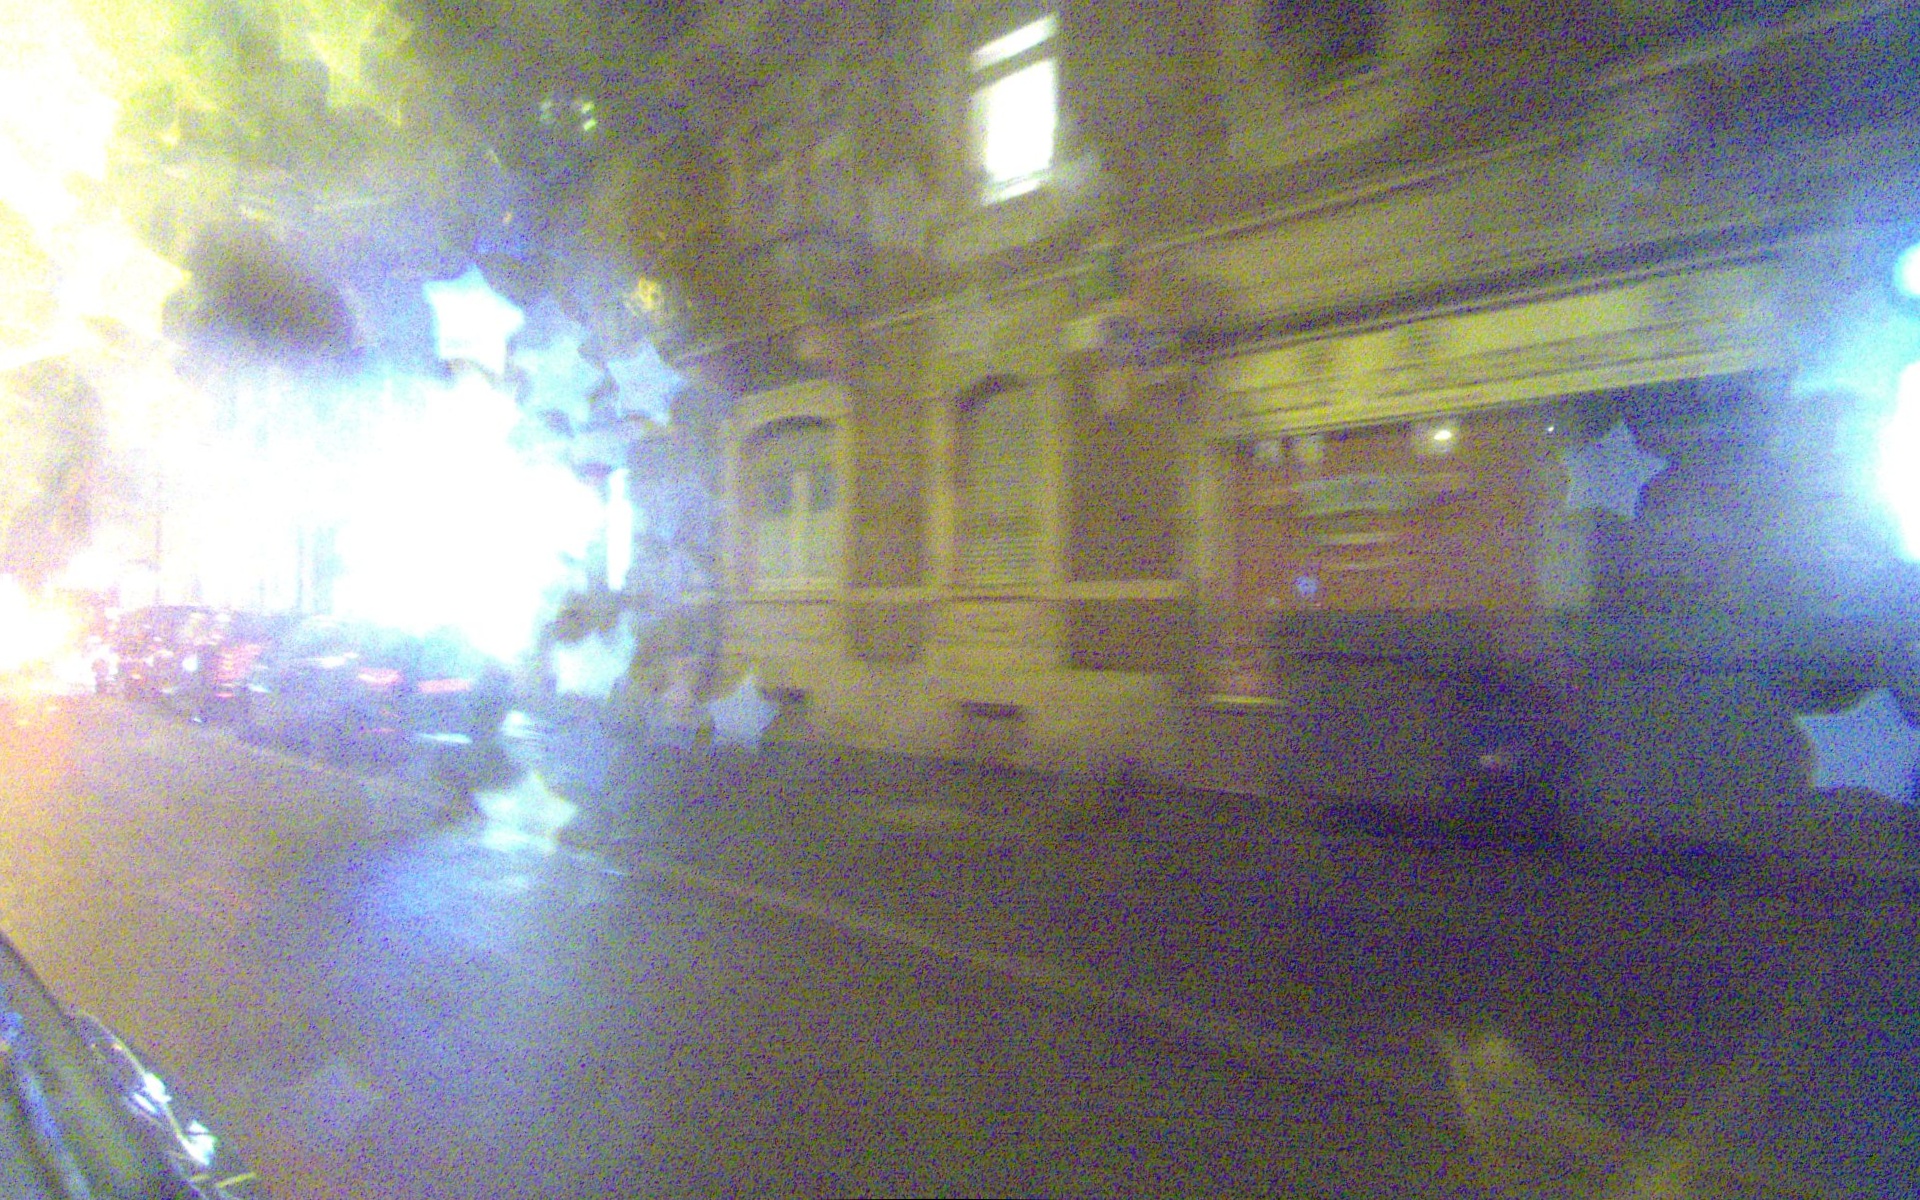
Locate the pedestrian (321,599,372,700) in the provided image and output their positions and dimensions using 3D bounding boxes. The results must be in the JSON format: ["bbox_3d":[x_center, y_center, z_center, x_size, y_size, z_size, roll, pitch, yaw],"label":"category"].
[{"bbox_3d":[-11.129,0.886,18.366,0.549,1.794,0.632,-1,-2,41],"label":"pedestrian"}]

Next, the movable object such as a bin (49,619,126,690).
[{"bbox_3d":[-19.038,1.163,22.076,1.107,1.470,1.152,-1,0,43],"label":"movable object such as a bin"}]

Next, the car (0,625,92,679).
[{"bbox_3d":[-25.627,1.388,28.143,4.220,1.369,1.637,-1,-2,41],"label":"car"}]

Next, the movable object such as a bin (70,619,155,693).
[{"bbox_3d":[-17.994,1.152,21.484,1.151,1.470,1.248,-1,0,43],"label":"movable object such as a bin"}]

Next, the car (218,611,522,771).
[{"bbox_3d":[-6.794,0.903,11.447,4.313,1.466,1.669,-2,-1,41],"label":"car"}]

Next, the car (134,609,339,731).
[{"bbox_3d":[-10.825,0.954,15.033,4.023,1.564,1.587,-2,-1,41],"label":"car"}]

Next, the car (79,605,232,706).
[{"bbox_3d":[-15.133,0.978,18.979,3.719,1.719,1.587,-1,-1,41],"label":"car"}]

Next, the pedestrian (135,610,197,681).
[{"bbox_3d":[-20.543,1.156,26.189,0.787,1.796,1.120,-2,-2,41],"label":"pedestrian"}]

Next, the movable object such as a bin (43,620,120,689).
[{"bbox_3d":[-19.879,1.205,22.900,1.107,1.470,1.195,-1,0,43],"label":"movable object such as a bin"}]

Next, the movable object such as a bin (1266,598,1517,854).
[{"bbox_3d":[2.792,0.723,6.540,1.154,1.430,1.128,-1,0,43],"label":"movable object such as a bin"}]

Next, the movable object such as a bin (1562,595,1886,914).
[{"bbox_3d":[4.085,0.706,5.417,1.248,1.430,1.128,-1,0,44],"label":"movable object such as a bin"}]
